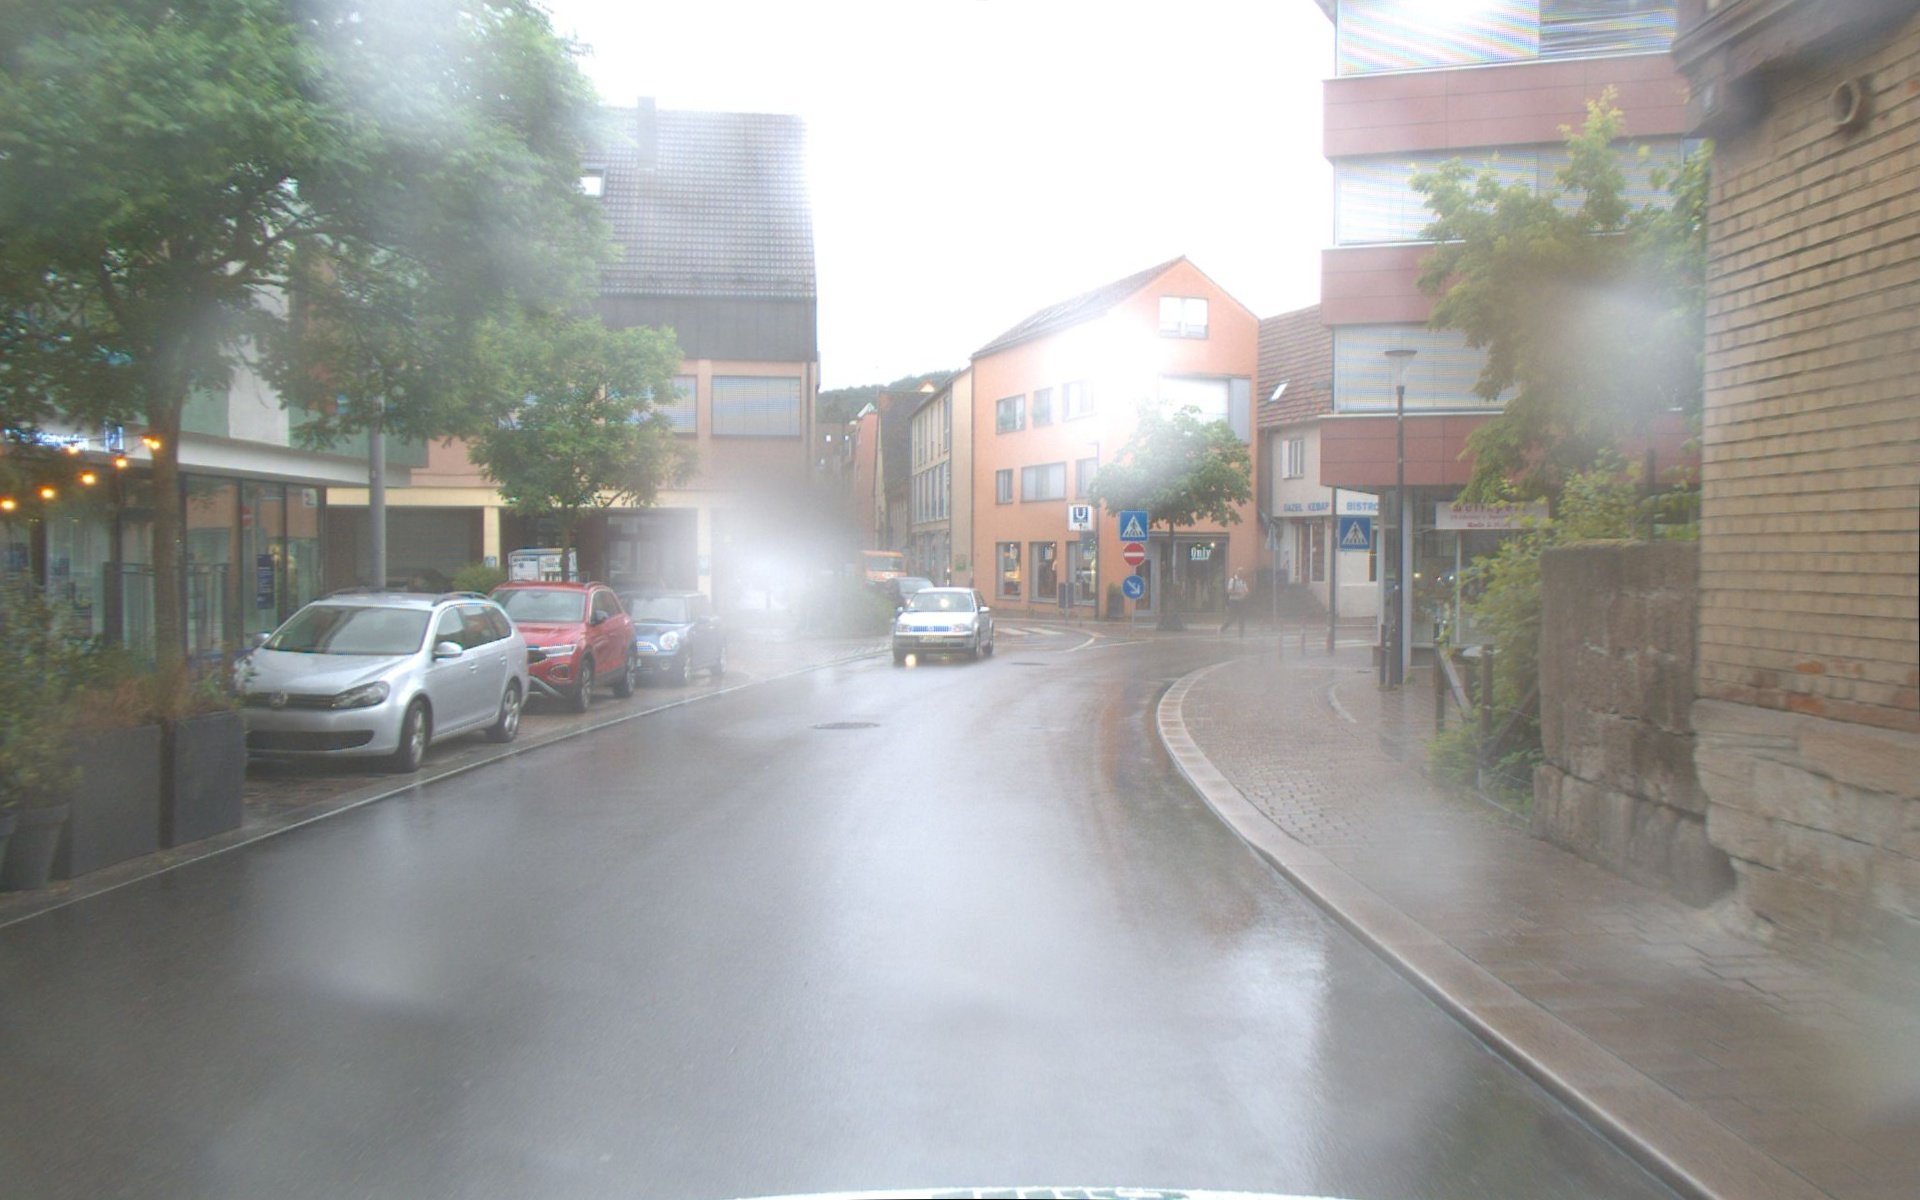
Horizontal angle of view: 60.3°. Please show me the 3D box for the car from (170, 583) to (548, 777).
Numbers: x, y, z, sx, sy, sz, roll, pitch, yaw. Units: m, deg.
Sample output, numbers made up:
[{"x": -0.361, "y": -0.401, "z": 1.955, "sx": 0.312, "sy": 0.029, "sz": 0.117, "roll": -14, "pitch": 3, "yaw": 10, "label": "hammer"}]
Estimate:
[{"x": -5.322, "y": 0.619, "z": 15.339, "sx": 1.749, "sy": 1.525, "sz": 4.456, "roll": -1, "pitch": 0, "yaw": 2, "label": "car"}]

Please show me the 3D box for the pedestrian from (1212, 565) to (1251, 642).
[{"x": 6.975, "y": 0.084, "z": 42.441, "sx": 0.843, "sy": 1.948, "sz": 0.758, "roll": 0, "pitch": 1, "yaw": 23, "label": "pedestrian"}]

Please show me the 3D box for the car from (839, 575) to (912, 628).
[{"x": -2.568, "y": 0.016, "z": 49.424, "sx": 1.683, "sy": 1.483, "sz": 3.901, "roll": 1, "pitch": 1, "yaw": -10, "label": "car"}]

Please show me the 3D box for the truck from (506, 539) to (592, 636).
[{"x": -10.277, "y": -0.359, "z": 41.513, "sx": 1.566, "sy": 2.097, "sz": 3.191, "roll": -2, "pitch": 5, "yaw": -6, "label": "truck"}]

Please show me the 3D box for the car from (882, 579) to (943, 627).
[{"x": -1.571, "y": 0.062, "z": 53.724, "sx": 1.617, "sy": 1.471, "sz": 3.978, "roll": -1, "pitch": 1, "yaw": -6, "label": "car"}]

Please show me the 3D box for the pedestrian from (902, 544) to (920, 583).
[{"x": -2.617, "y": -1.948, "z": 87.465, "sx": 0.851, "sy": 2.048, "sz": 0.706, "roll": 0, "pitch": 1, "yaw": -11, "label": "pedestrian"}]

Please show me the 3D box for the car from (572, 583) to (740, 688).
[{"x": -4.736, "y": 0.503, "z": 26.295, "sx": 1.678, "sy": 1.483, "sz": 3.912, "roll": 1, "pitch": 1, "yaw": 4, "label": "car"}]

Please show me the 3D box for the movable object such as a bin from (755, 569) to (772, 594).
[{"x": -11.018, "y": -1.032, "z": 92.691, "sx": 0.819, "sy": 1.406, "sz": 0.851, "roll": 0, "pitch": 1, "yaw": -13, "label": "movable object such as a bin"}]

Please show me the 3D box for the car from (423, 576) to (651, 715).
[{"x": -5.303, "y": 0.511, "z": 21.286, "sx": 1.749, "sy": 1.604, "sz": 4.108, "roll": -1, "pitch": 0, "yaw": 2, "label": "car"}]

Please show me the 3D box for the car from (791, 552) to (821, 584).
[{"x": -10.529, "y": -2.169, "z": 113.005, "sx": 1.955, "sy": 2.048, "sz": 4.358, "roll": -2, "pitch": 1, "yaw": -5, "label": "car"}]

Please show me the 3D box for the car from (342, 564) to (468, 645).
[{"x": -13.410, "y": 0.067, "z": 40.207, "sx": 1.775, "sy": 1.645, "sz": 4.001, "roll": 0, "pitch": 4, "yaw": -1, "label": "car"}]

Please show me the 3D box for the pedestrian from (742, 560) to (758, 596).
[{"x": -12.223, "y": -1.278, "z": 96.163, "sx": 0.819, "sy": 2.048, "sz": 0.851, "roll": 0, "pitch": 1, "yaw": -13, "label": "pedestrian"}]

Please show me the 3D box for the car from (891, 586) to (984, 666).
[{"x": -0.481, "y": 0.486, "z": 33.886, "sx": 1.754, "sy": 1.442, "sz": 4.028, "roll": -2, "pitch": 1, "yaw": -1, "label": "car"}]

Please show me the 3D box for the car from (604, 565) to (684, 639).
[{"x": -7.919, "y": 0.006, "z": 41.715, "sx": 1.547, "sy": 1.504, "sz": 3.822, "roll": 0, "pitch": 5, "yaw": -4, "label": "car"}]

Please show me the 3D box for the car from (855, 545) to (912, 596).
[{"x": -3.513, "y": -1.342, "z": 75.271, "sx": 2.065, "sy": 2.183, "sz": 4.857, "roll": -2, "pitch": 1, "yaw": -9, "label": "car"}]
